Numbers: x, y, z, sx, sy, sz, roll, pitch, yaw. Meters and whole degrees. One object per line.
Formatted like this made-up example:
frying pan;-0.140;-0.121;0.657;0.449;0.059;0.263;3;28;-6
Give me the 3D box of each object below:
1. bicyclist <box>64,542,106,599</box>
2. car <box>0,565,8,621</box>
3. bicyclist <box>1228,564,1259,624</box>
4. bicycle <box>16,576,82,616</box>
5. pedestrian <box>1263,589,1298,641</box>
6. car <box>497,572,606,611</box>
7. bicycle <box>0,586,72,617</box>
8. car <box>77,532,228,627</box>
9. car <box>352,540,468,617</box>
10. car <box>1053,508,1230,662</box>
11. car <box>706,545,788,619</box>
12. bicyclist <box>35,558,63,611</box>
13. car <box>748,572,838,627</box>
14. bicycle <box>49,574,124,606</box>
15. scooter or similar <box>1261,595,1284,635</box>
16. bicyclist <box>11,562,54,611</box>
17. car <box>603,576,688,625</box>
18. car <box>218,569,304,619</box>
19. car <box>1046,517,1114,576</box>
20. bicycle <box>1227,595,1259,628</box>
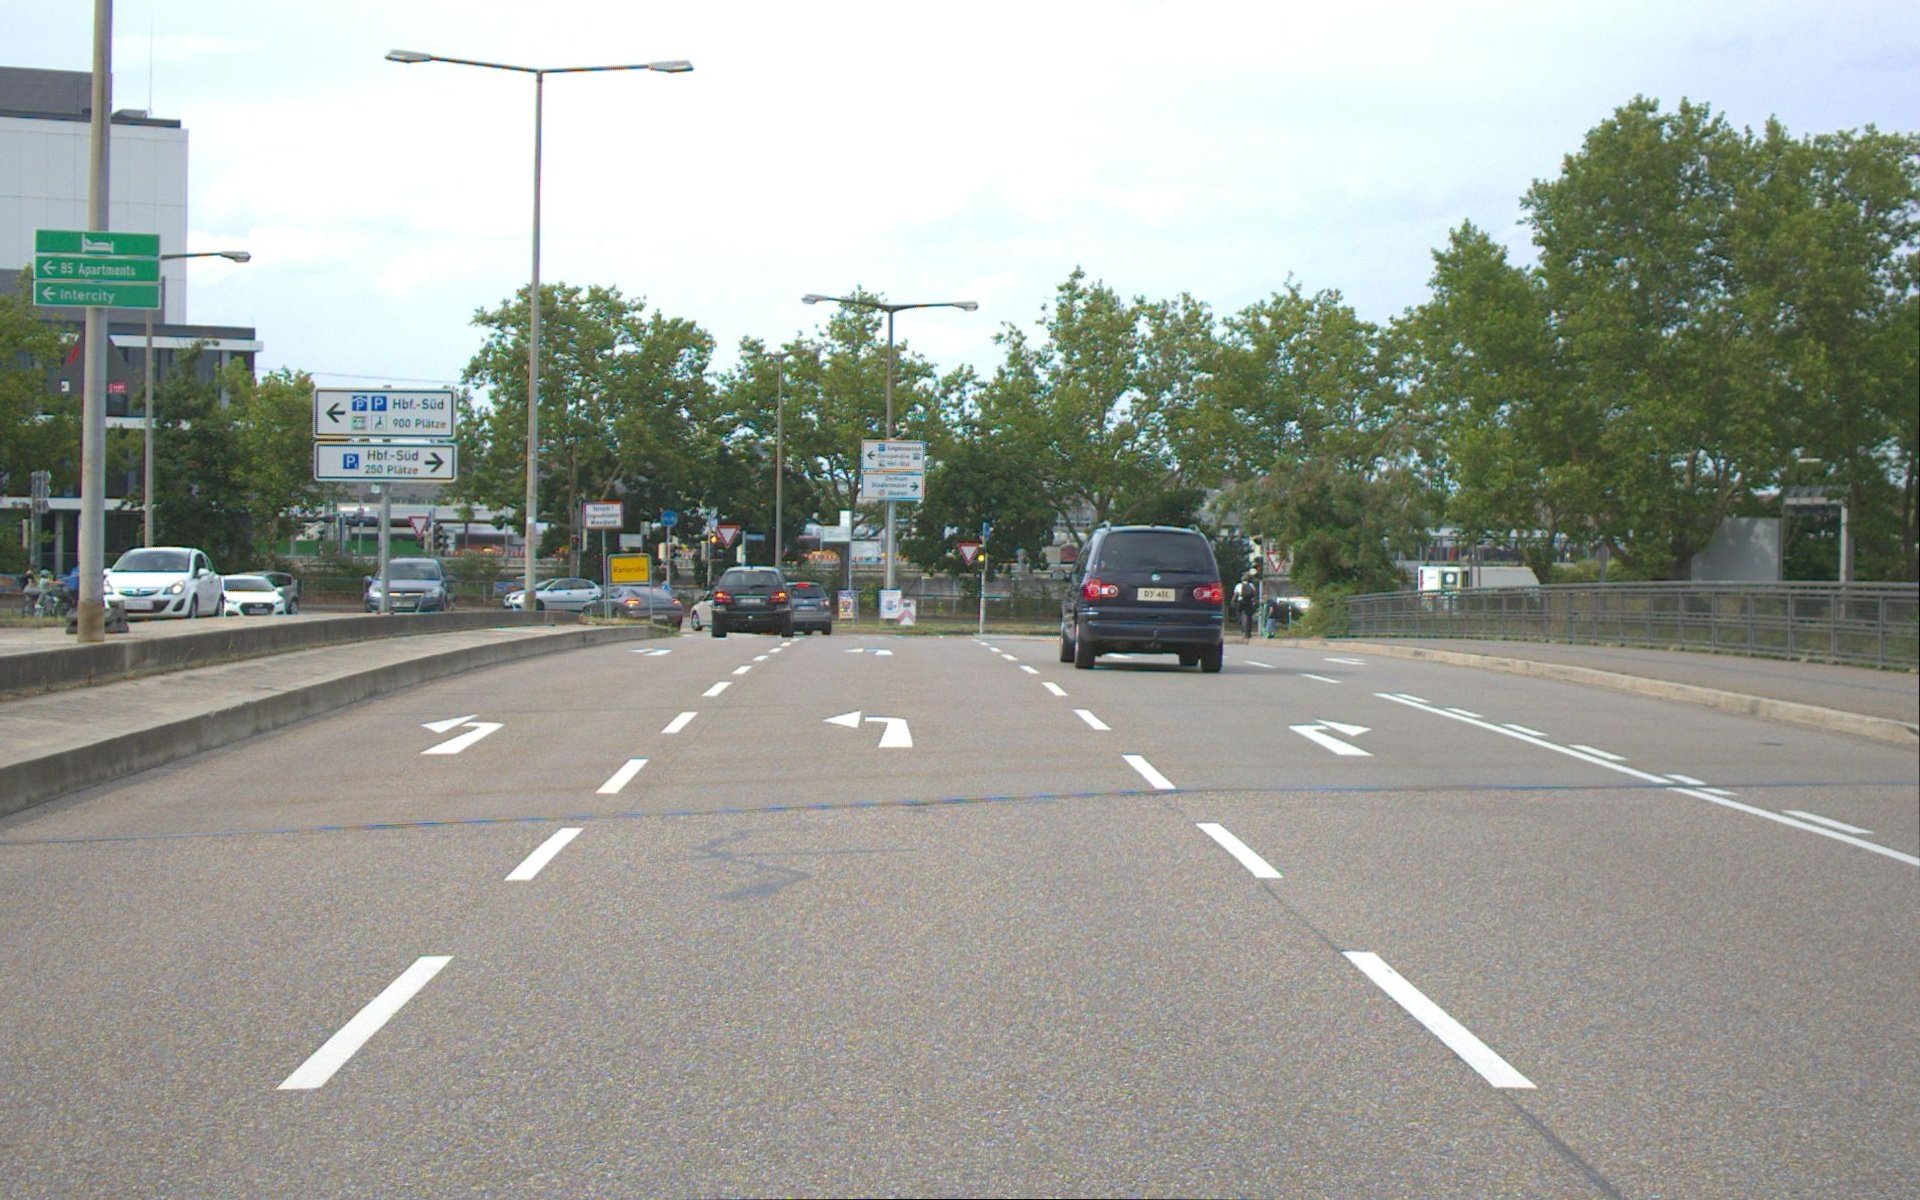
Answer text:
bicyclist;-25.834;-0.869;101.536;0.810;1.651;0.882;0;0;31
car;-28.586;-0.167;93.834;4.871;1.521;1.923;0;1;23
bicyclist;8.119;-0.173;98.589;0.810;1.690;1.115;0;0;2
bicycle;-27.562;-0.121;104.016;1.900;1.206;0.643;1;0;-18
pedestrian;10.851;0.505;116.342;1.047;1.704;0.853;2;0;10
car;-15.550;-0.327;130.829;3.846;1.405;1.622;0;-1;-21
bicycle;-27.634;0.048;102.263;0.703;0.887;2.587;1;1;31
car;-14.579;-0.381;62.291;1.887;1.634;4.218;1;1;-2
car;-12.072;-0.481;75.766;1.887;1.634;4.585;1;1;-1
car;2.158;-0.151;41.905;1.750;1.719;4.138;3;-1;-2
car;-4.812;-0.417;77.279;1.757;1.570;4.037;1;1;-4
bicyclist;-27.562;-0.470;103.998;0.779;1.576;0.655;1;0;-18
car;-4.900;-0.005;100.314;1.740;1.541;4.083;0;0;-16
bicycle;-25.803;-0.295;101.571;0.810;0.949;2.231;0;0;31
scooter or similar;9.431;0.462;103.828;0.396;1.179;1.281;0;-1;-8
bicyclist;-27.602;-0.402;102.316;0.647;1.431;1.115;1;1;31
car;-9.435;-0.004;102.791;1.818;1.409;4.778;1;0;-14
car;-20.507;-0.179;100.780;1.918;1.410;4.882;-1;1;-18
car;3.549;-1.567;102.201;1.690;1.580;4.156;3;-1;-2
bicycle;8.124;0.327;98.702;0.809;0.949;2.235;0;0;2
